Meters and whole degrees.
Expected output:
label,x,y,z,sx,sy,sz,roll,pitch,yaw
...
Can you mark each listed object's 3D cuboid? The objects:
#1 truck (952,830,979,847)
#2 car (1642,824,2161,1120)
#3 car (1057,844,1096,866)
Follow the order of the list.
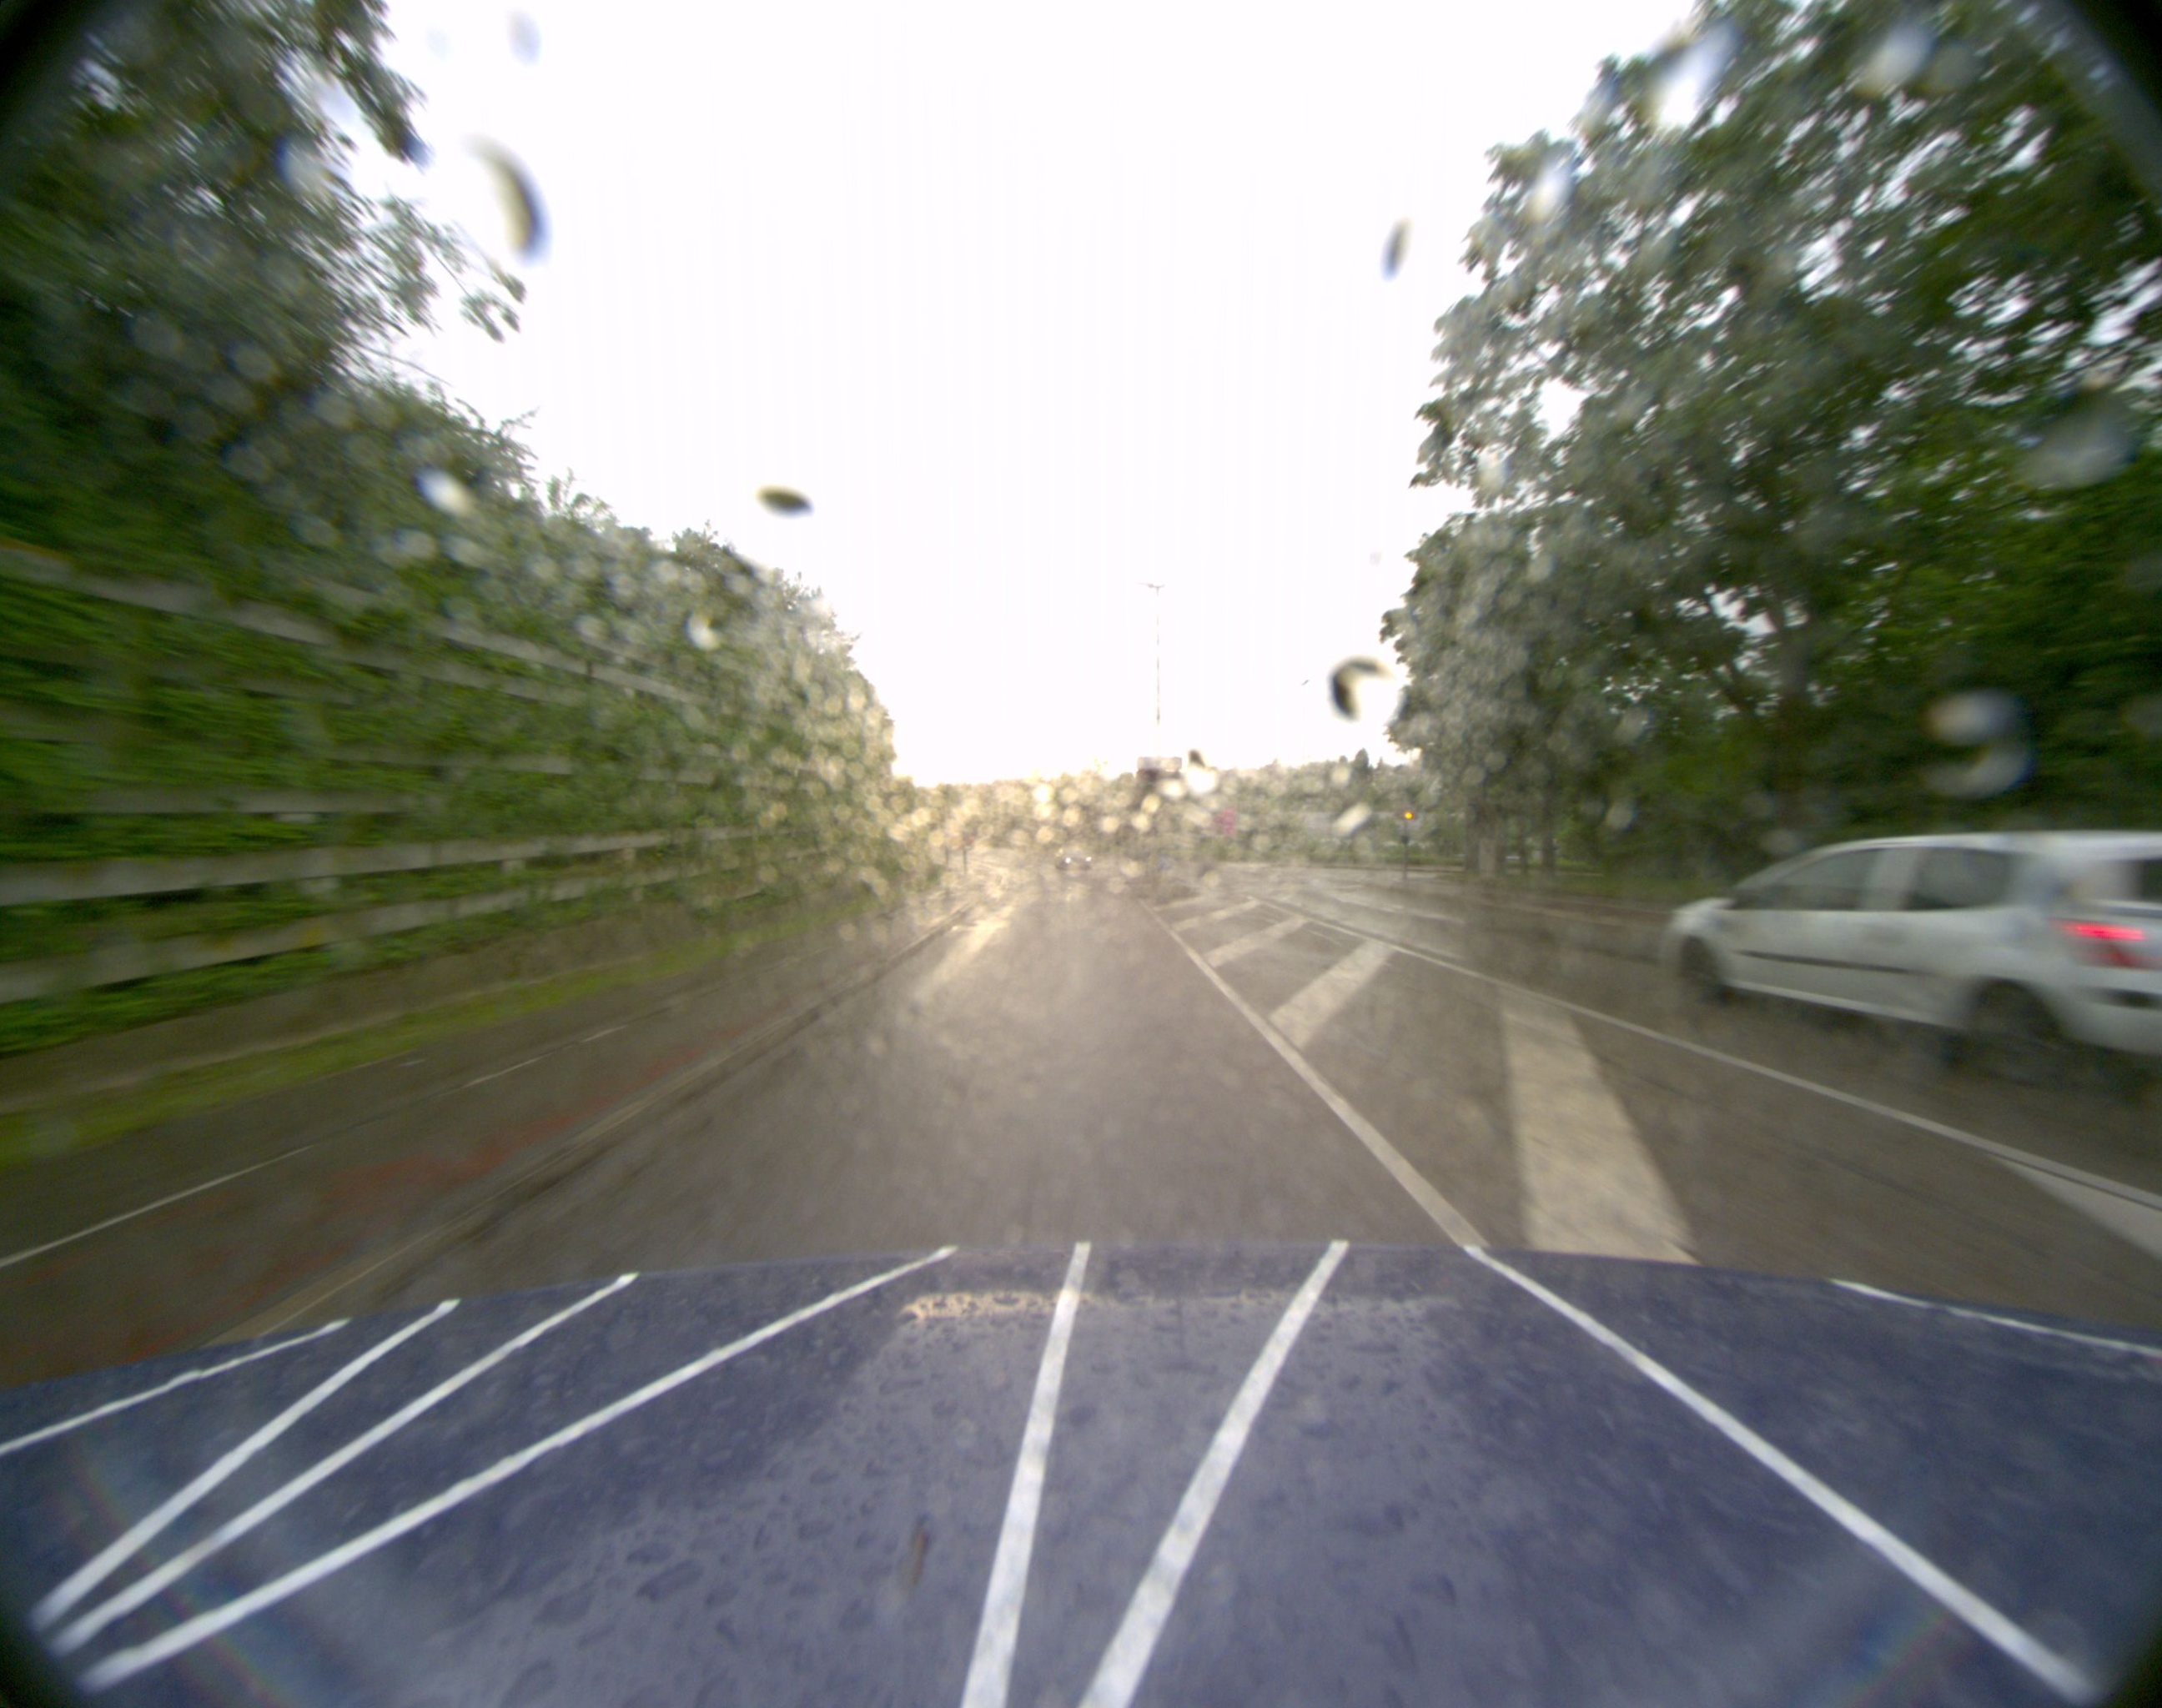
label,x,y,z,sx,sy,sz,roll,pitch,yaw
truck,-14.734,-1.990,96.817,2.002,2.003,5.325,-4,4,-23
car,6.110,0.542,5.437,1.516,1.440,3.817,-1,1,3
car,-0.336,0.068,50.400,1.761,1.387,3.995,-2,1,-13
